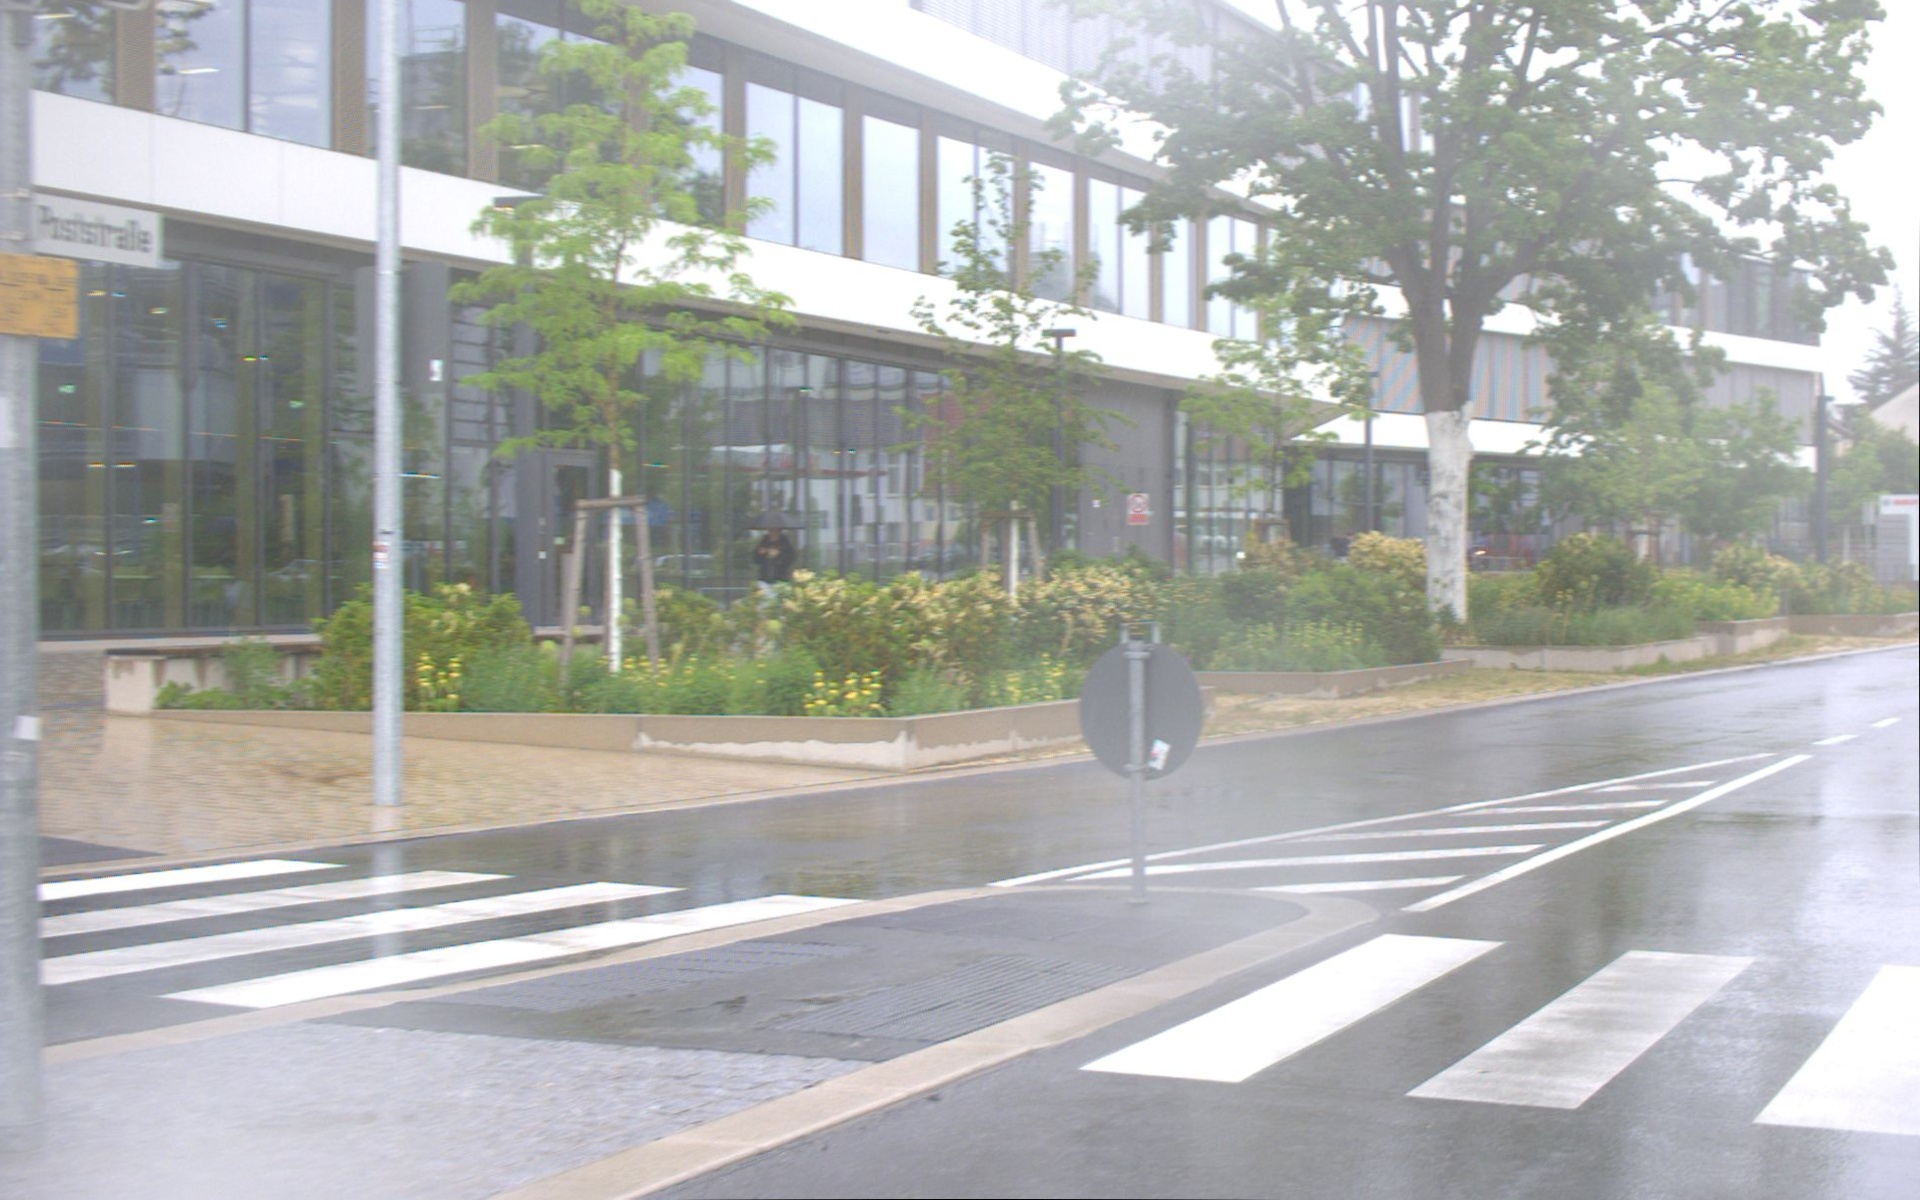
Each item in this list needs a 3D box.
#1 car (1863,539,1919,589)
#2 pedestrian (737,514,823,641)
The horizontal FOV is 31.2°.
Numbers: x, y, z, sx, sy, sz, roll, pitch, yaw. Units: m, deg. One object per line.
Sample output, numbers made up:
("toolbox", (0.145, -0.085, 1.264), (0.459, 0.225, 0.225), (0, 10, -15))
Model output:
("car", (42.411, -1.492, 151.814), (4.756, 2.007, 1.999), (4, 1, 14))
("pedestrian", (-2.520, -0.311, 48.135), (0.725, 1.698, 0.955), (5, 1, 25))
